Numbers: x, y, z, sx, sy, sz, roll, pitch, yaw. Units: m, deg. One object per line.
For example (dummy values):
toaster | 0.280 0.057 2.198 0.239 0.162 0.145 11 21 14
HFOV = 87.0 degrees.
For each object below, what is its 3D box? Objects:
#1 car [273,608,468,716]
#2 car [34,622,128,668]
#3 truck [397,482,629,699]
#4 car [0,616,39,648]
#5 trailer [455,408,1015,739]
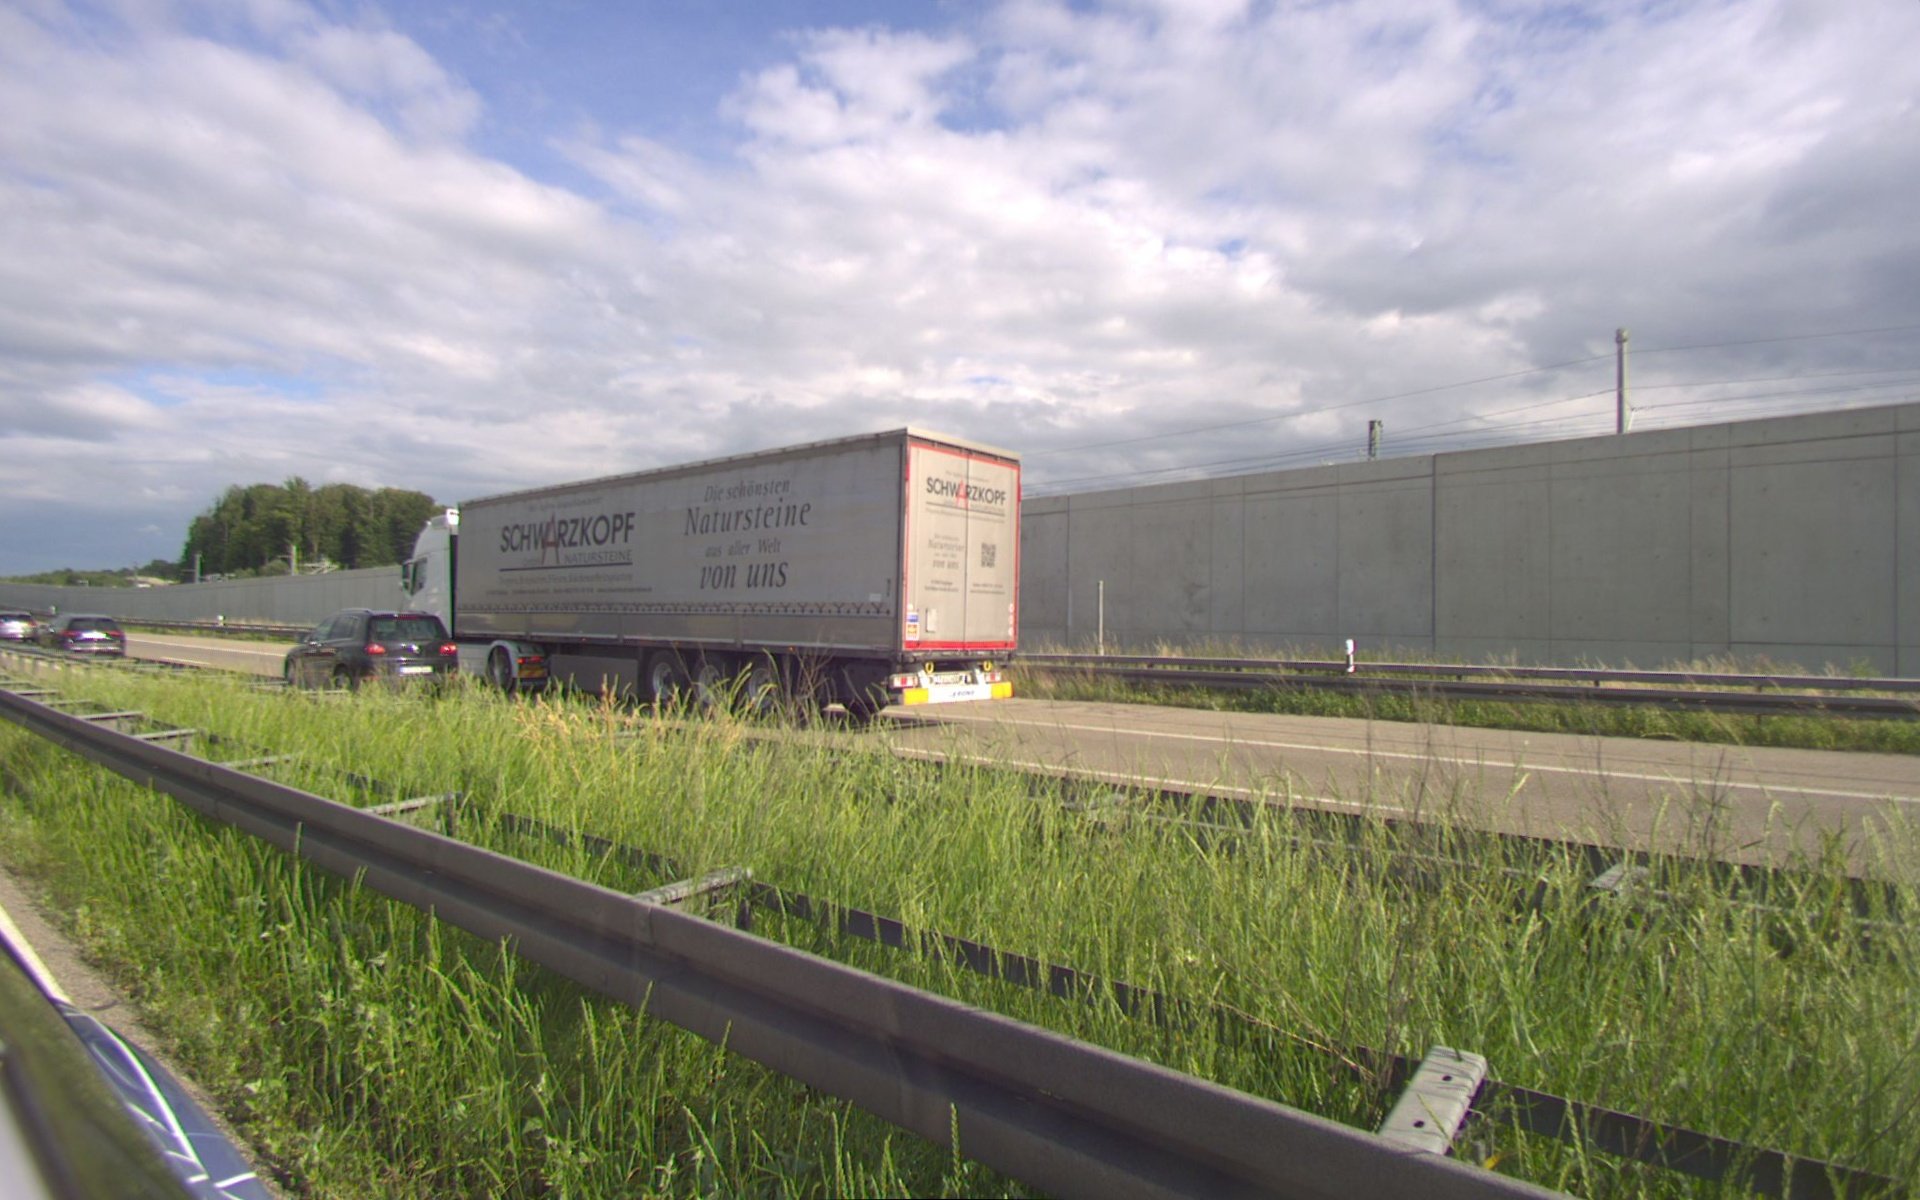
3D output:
car | -10.590 1.012 18.065 4.170 1.719 1.691 -1 -1 40
car | -28.616 1.404 32.901 4.229 1.368 1.724 -1 -1 41
truck | -10.056 -0.135 22.510 5.928 4.213 2.356 -1 -2 40
car | -45.266 1.491 48.098 3.827 1.490 1.751 -1 -1 41
trailer | -4.952 -0.256 18.091 13.196 4.214 2.365 -1 -2 41
